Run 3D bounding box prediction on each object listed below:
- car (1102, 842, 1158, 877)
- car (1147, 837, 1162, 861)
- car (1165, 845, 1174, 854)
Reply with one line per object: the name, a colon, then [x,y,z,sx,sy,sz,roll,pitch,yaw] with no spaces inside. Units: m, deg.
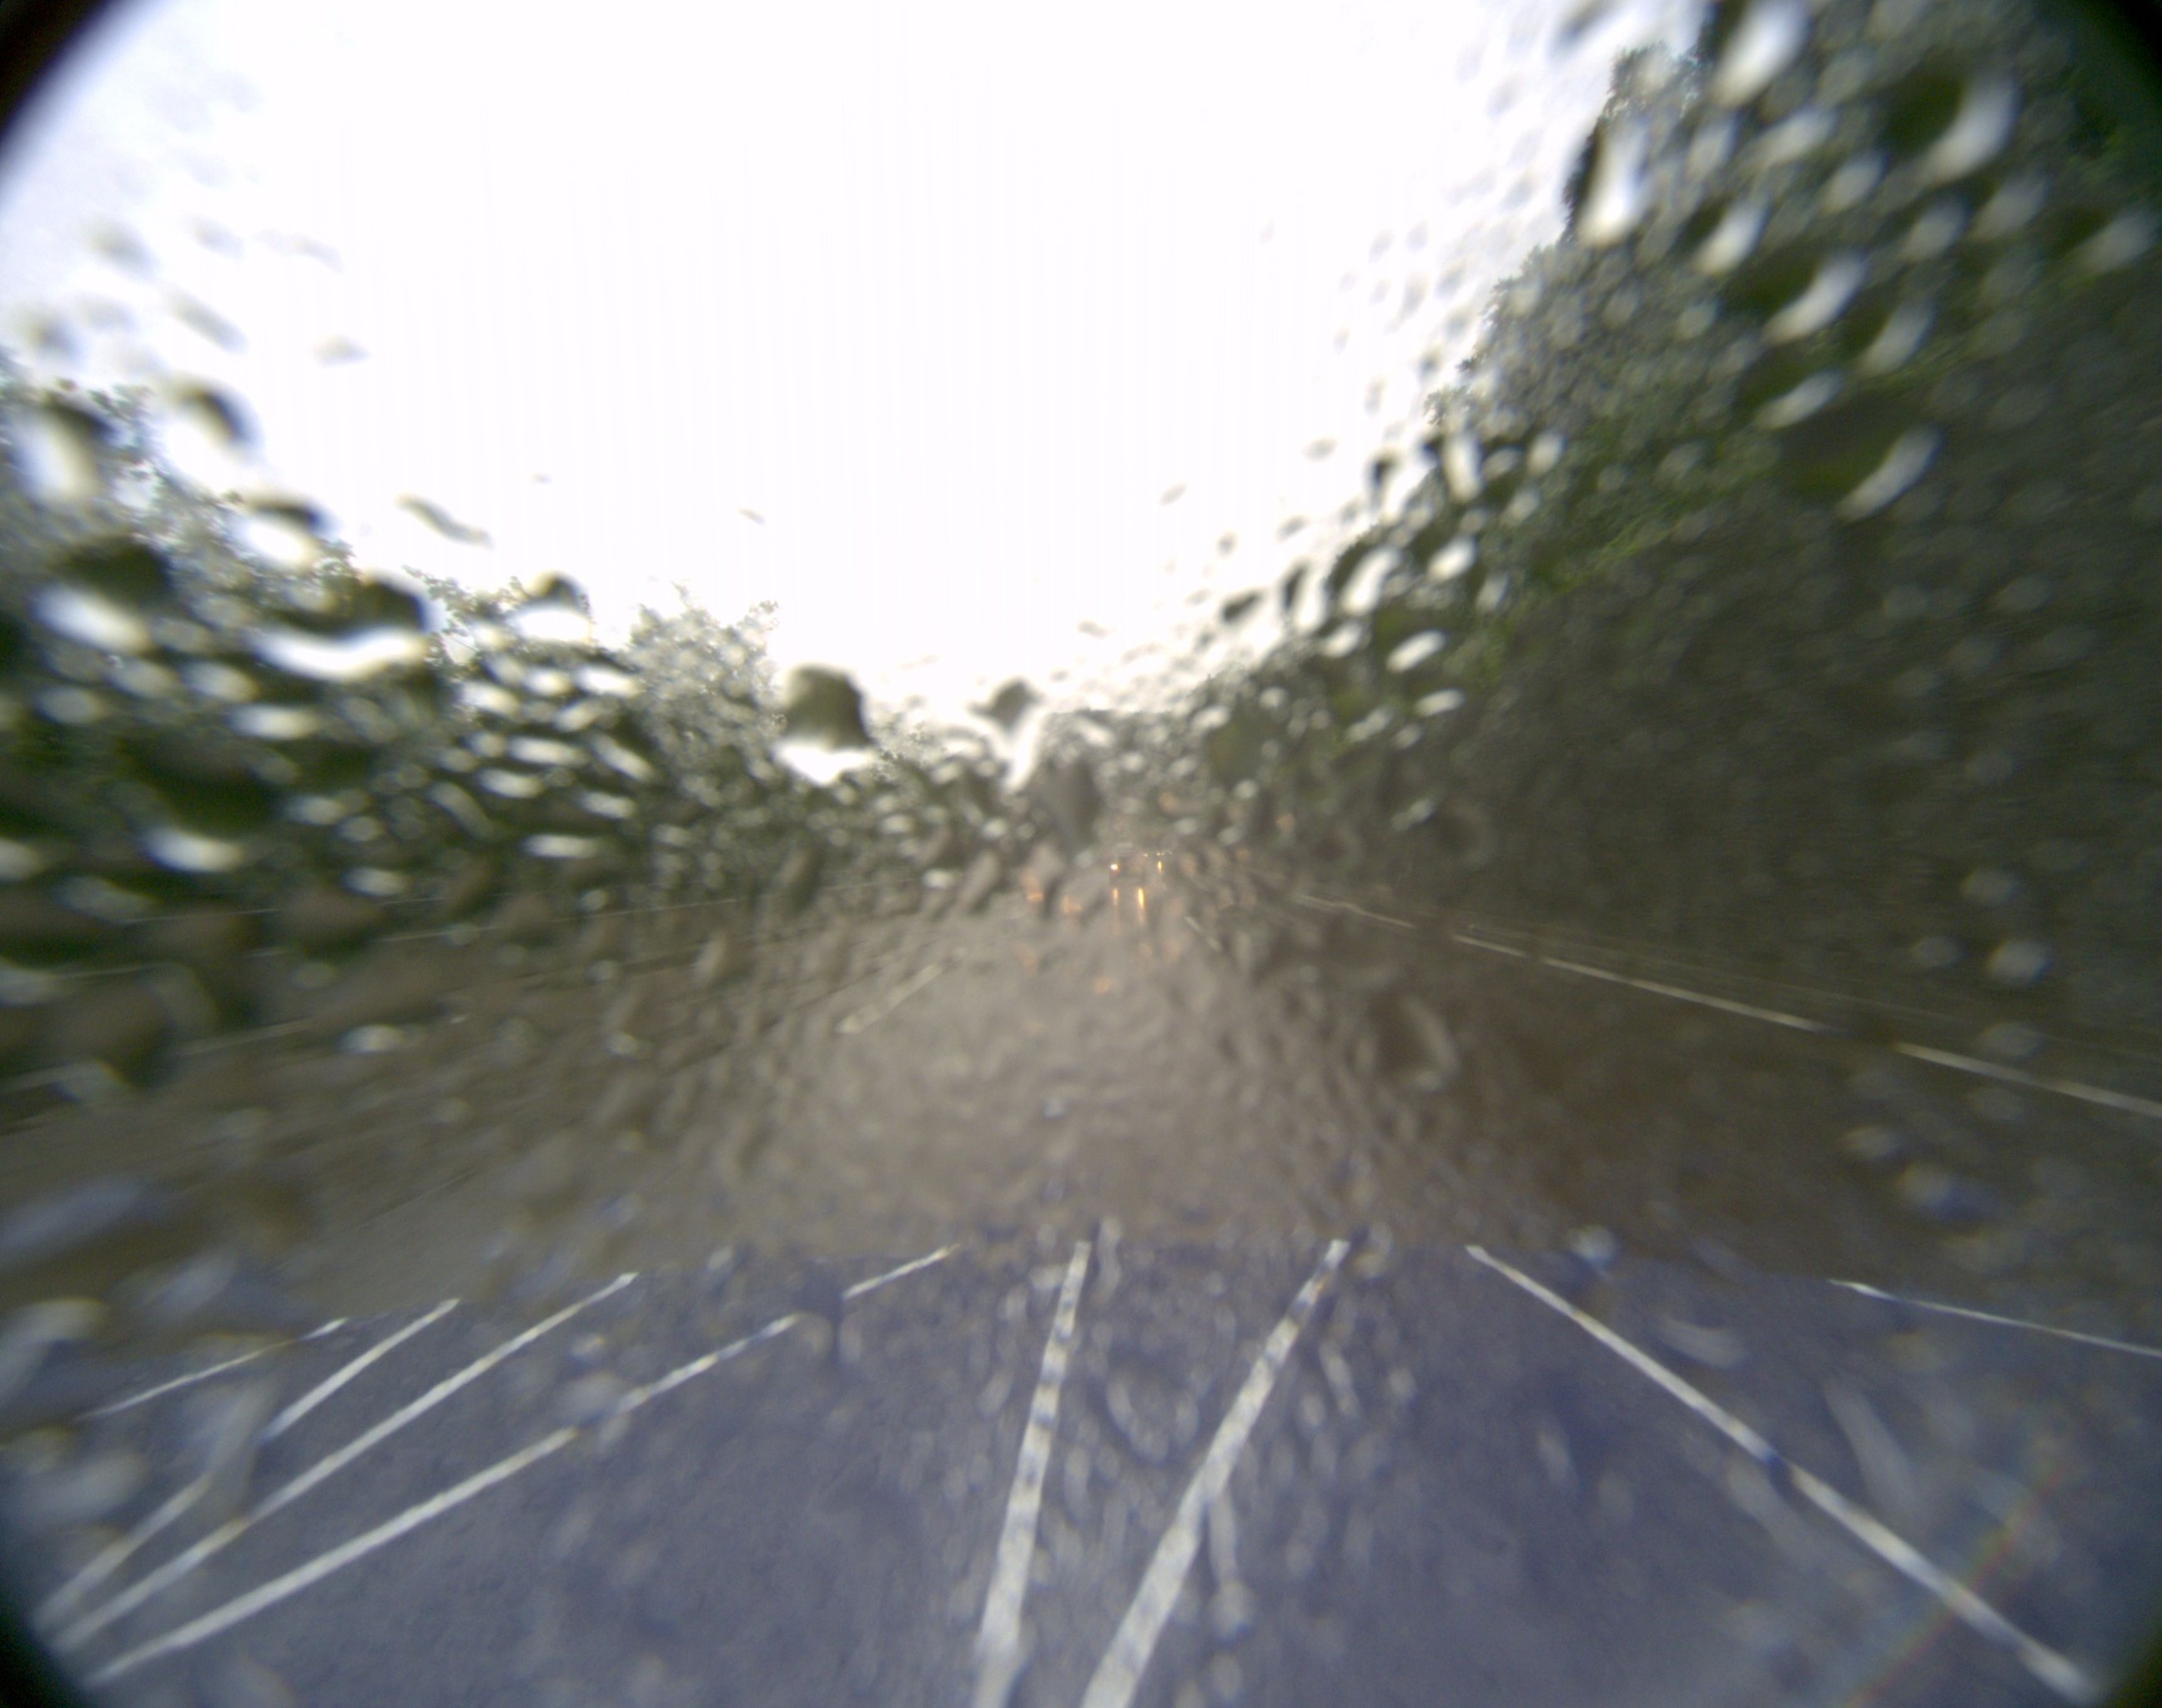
car: [2.606,0.232,38.640,2.358,1.549,5.501,-2,1,8]
car: [9.771,-0.662,100.894,1.741,3.008,4.001,-3,1,4]
car: [18.574,-0.936,159.202,1.736,1.656,3.868,-3,0,8]
